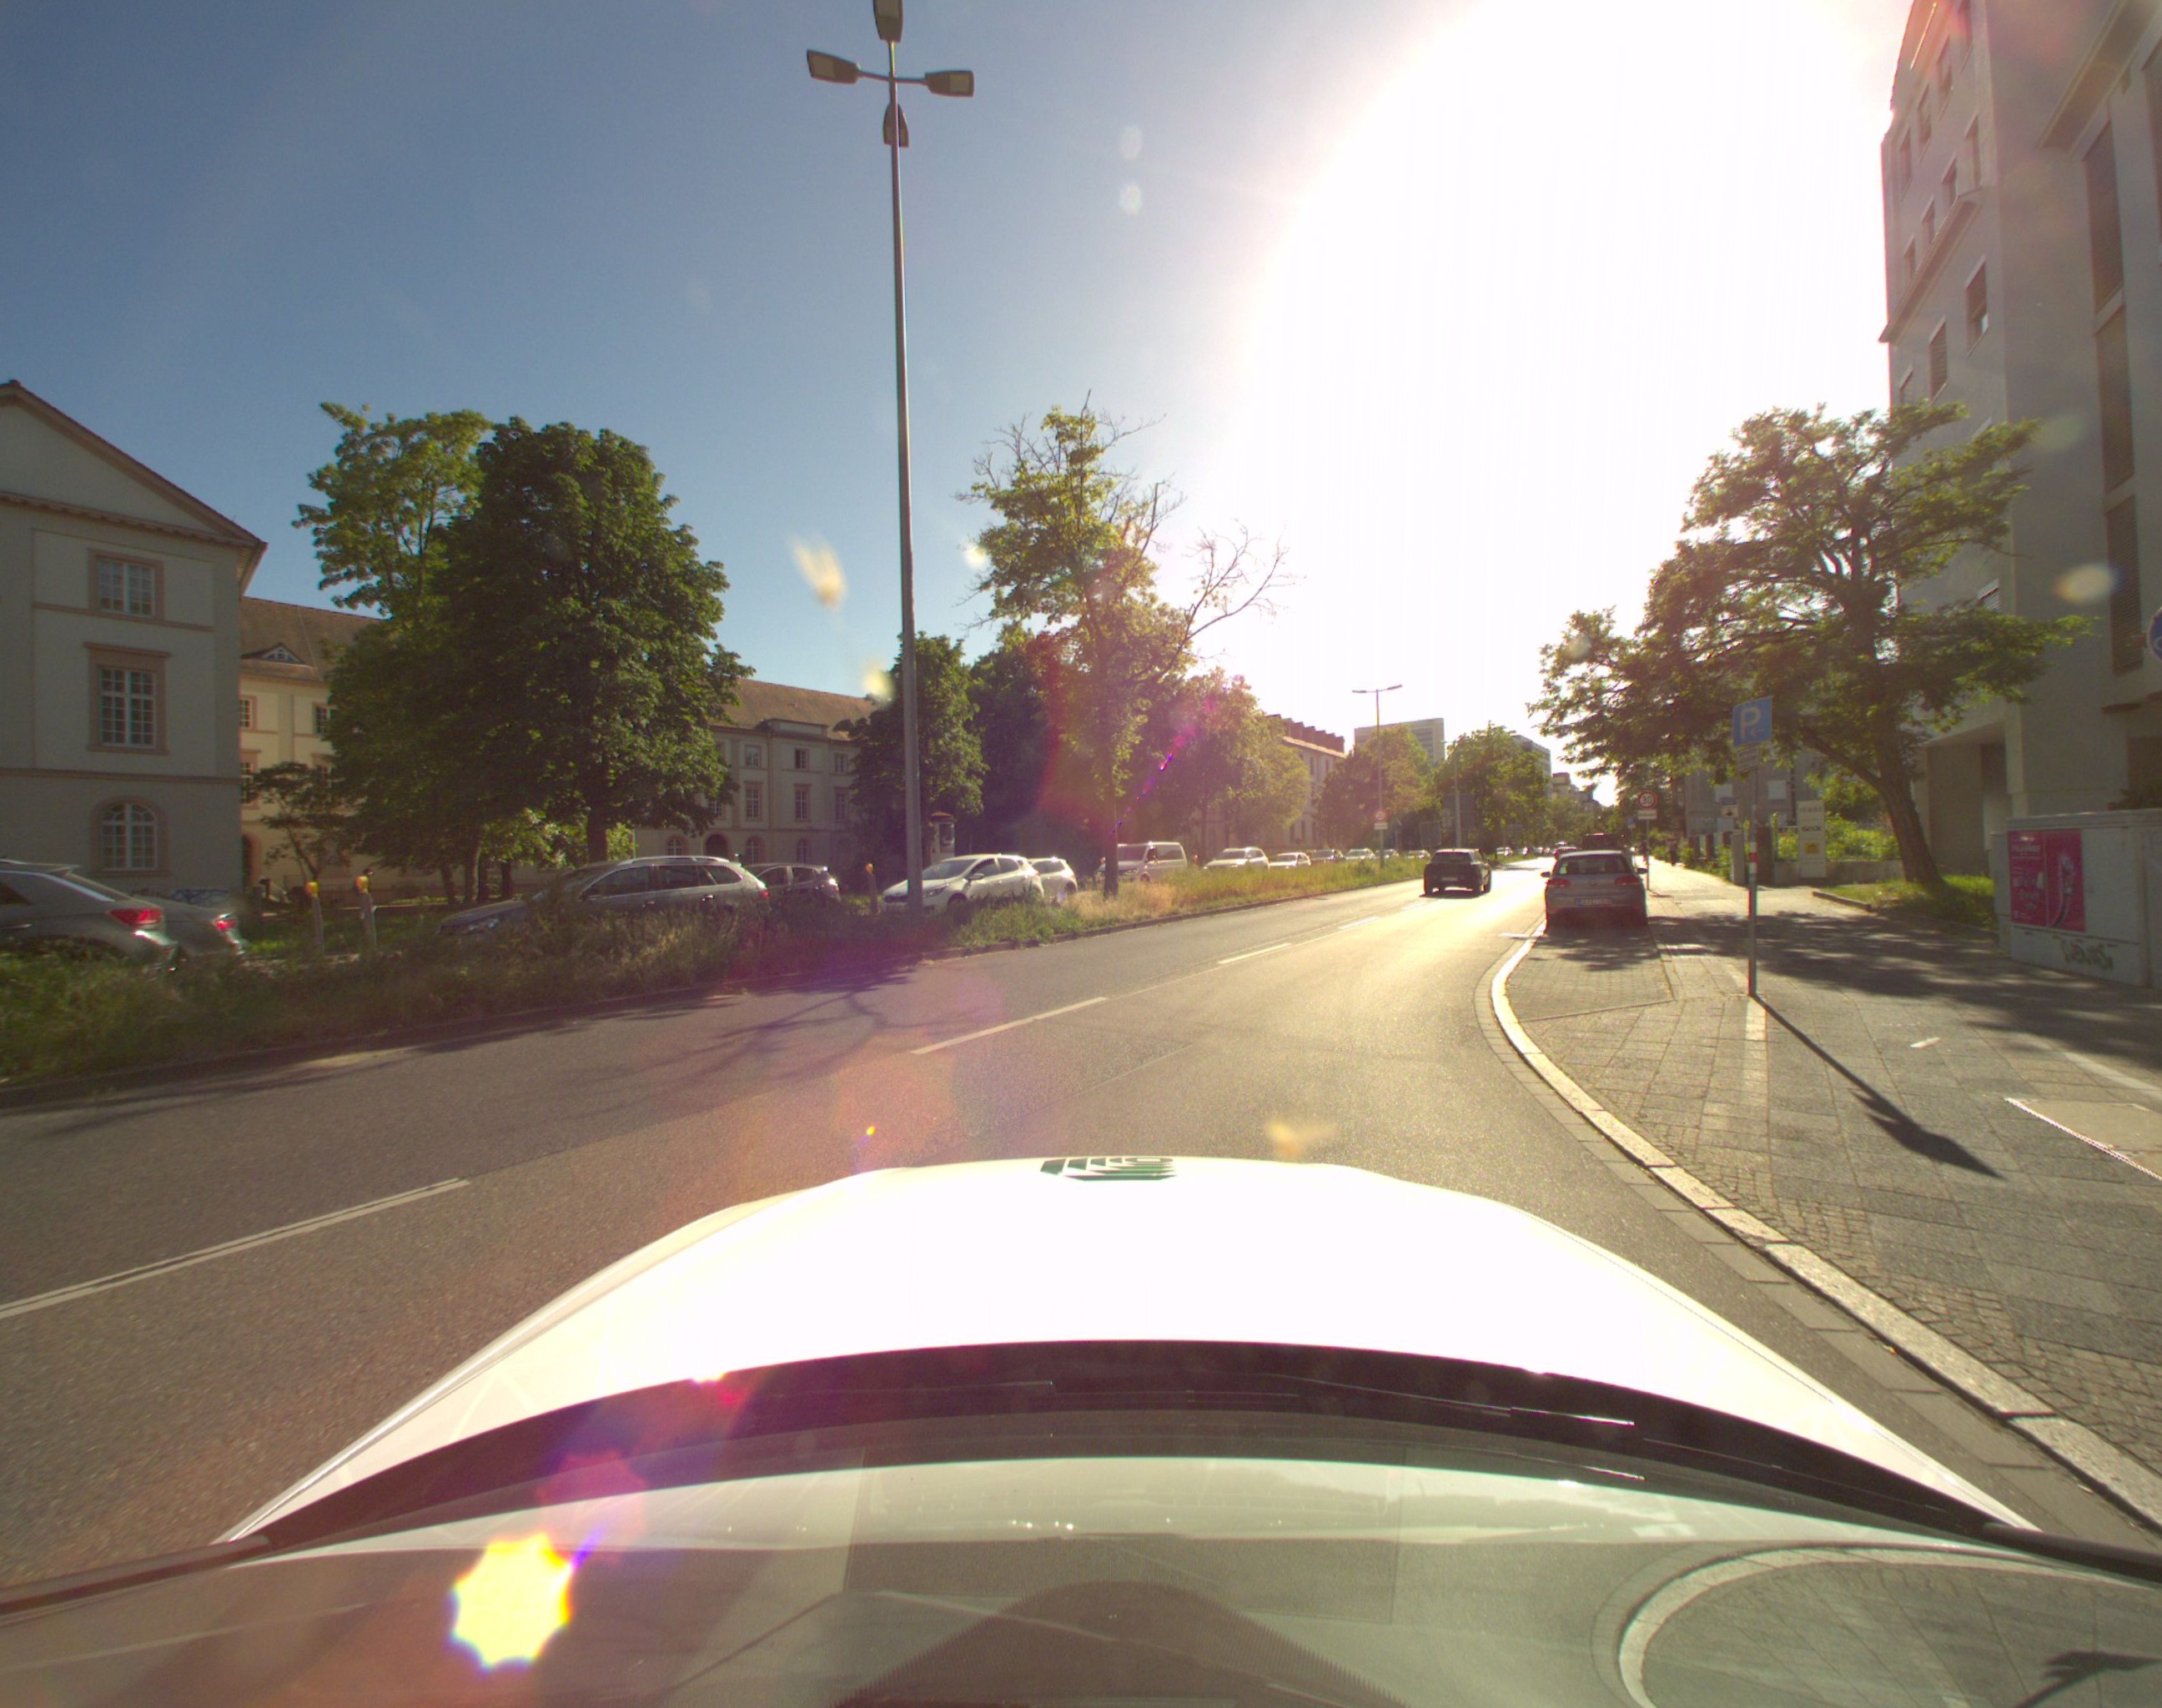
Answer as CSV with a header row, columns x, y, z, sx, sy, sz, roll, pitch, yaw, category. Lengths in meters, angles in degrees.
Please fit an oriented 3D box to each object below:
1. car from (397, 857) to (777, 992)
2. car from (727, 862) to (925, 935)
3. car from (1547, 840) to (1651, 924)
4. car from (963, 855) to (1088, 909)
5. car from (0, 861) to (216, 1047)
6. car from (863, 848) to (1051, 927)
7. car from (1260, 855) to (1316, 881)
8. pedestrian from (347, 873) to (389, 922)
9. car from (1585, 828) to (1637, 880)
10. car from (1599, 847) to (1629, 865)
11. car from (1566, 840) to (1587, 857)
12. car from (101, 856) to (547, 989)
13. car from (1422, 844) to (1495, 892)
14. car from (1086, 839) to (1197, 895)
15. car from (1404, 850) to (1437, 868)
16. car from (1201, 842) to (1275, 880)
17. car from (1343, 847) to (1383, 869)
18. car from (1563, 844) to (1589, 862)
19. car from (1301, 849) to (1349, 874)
x,y,z,sx,sy,sz,roll,pitch,yaw,category
-6.891,0.836,11.884,1.778,1.519,4.391,-1,0,33,car
-5.896,0.953,19.374,1.778,1.519,4.374,-1,0,33,car
10.994,0.516,17.256,1.622,1.448,4.183,-2,1,34,car
-1.656,0.824,25.522,1.778,1.519,4.105,-1,0,33,car
-10.141,0.830,6.360,1.778,1.519,4.374,-1,0,33,car
-2.612,0.658,18.144,1.778,1.519,4.232,-2,0,33,car
11.834,0.768,46.390,1.778,1.352,4.285,-2,0,33,car
-22.960,1.395,26.216,0.733,1.535,0.786,-2,-1,28,pedestrian
22.500,0.017,34.574,1.644,2.014,4.806,-3,-2,33,car
39.442,0.133,60.329,1.651,1.183,3.926,-6,-2,32,car
56.829,-0.664,93.441,1.942,1.882,4.025,-2,0,32,car
-10.473,0.798,11.673,1.778,1.519,4.374,-1,0,33,car
13.187,0.428,28.358,1.876,1.519,4.025,1,1,31,car
2.483,0.489,32.161,2.211,2.028,5.049,-1,0,33,car
31.285,0.421,74.987,1.821,1.519,4.696,-2,-1,35,car
7.839,0.343,40.251,1.778,1.743,5.064,-2,-1,33,car
20.549,0.295,59.254,1.778,1.519,4.285,-2,0,33,car
41.792,-0.096,68.710,1.775,1.520,3.873,-1,0,33,car
15.760,0.468,52.414,1.778,1.519,4.473,-2,-1,33,car
